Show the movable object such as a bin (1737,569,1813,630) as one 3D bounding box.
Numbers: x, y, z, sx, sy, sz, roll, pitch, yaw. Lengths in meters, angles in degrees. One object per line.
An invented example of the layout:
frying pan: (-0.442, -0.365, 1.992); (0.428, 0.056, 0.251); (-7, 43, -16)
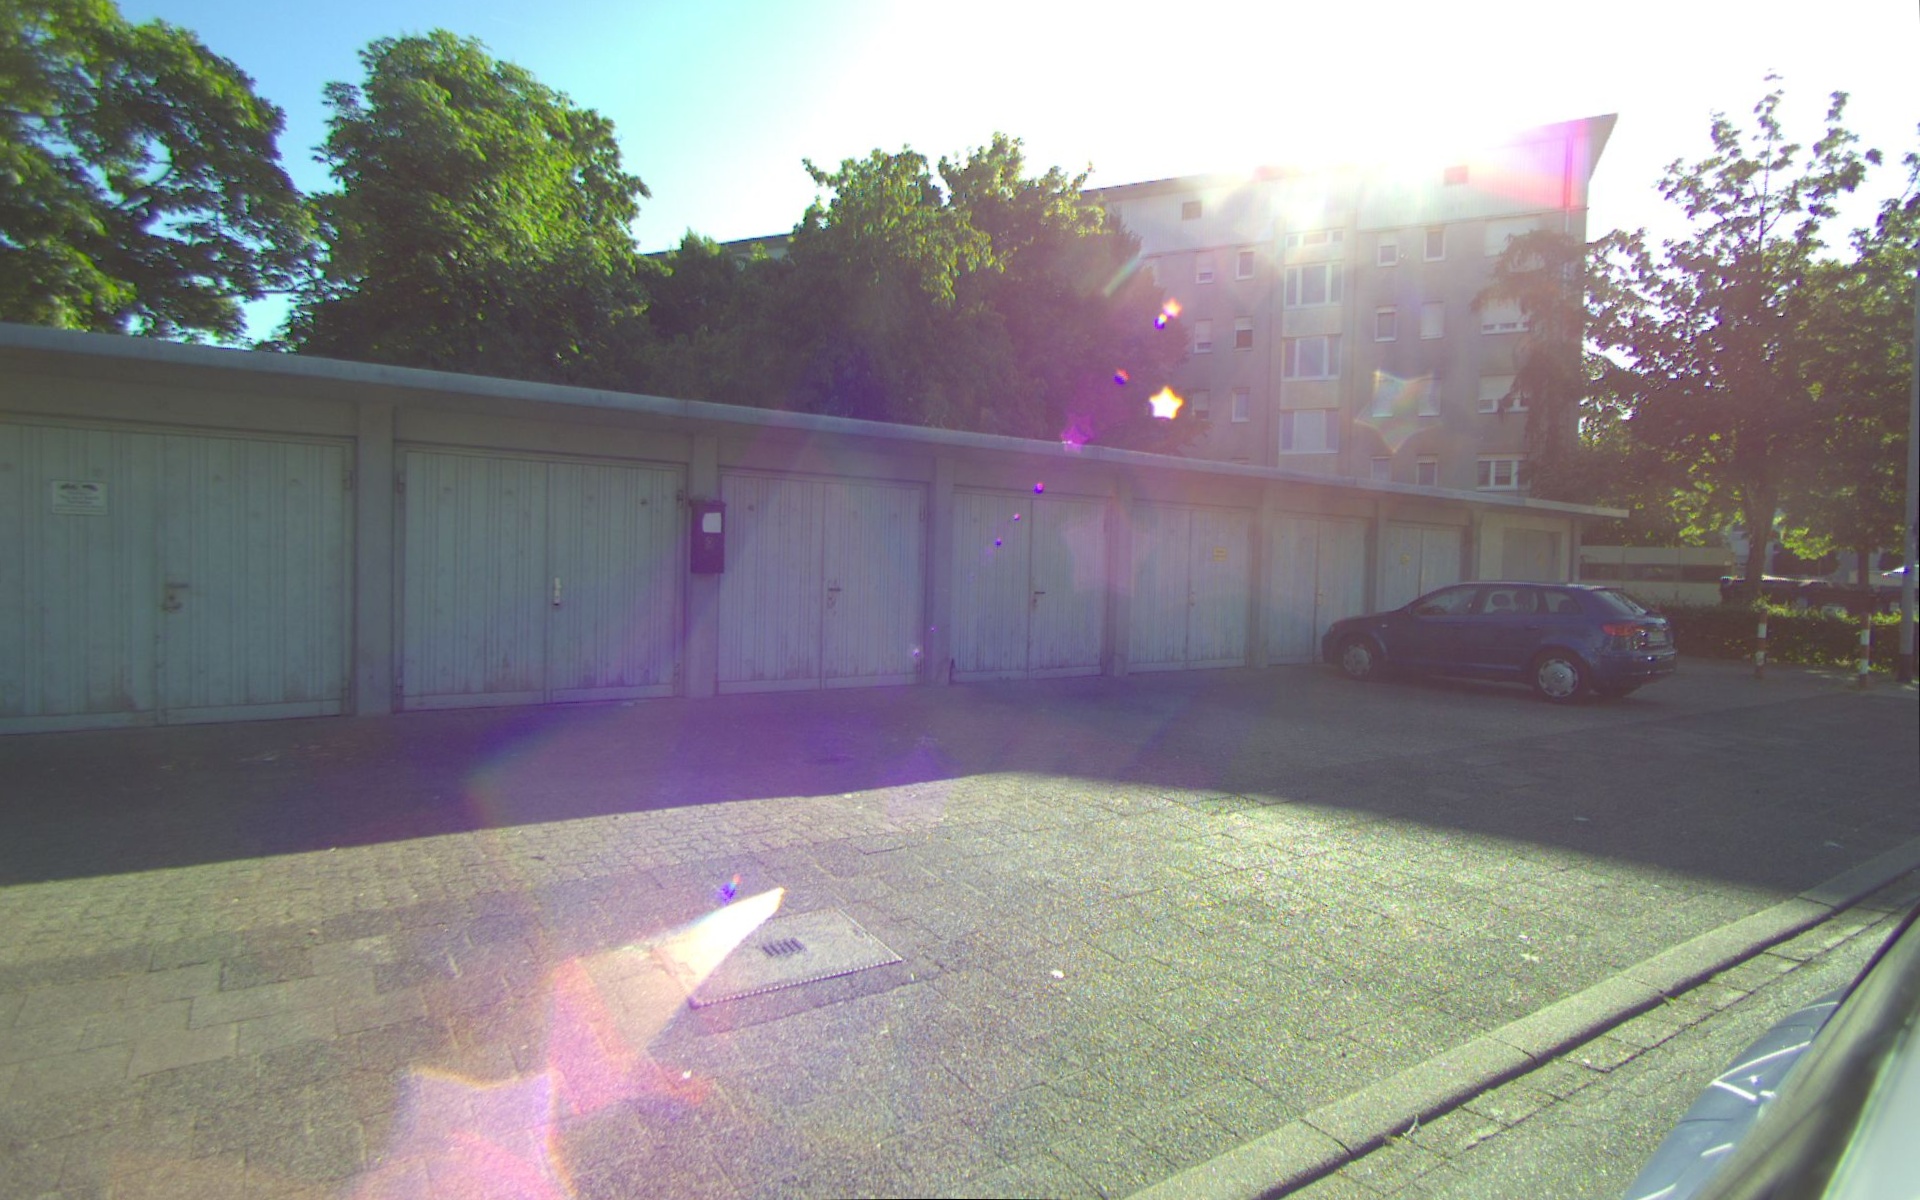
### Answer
movable object such as a bin: (20.820, -0.025, 25.867); (1.011, 1.499, 1.325); (0, 2, -39)

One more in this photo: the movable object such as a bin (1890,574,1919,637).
movable object such as a bin: (22.693, 0.139, 23.607); (1.011, 1.449, 1.327); (0, 2, -39)

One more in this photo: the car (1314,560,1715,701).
car: (6.952, 0.254, 13.110); (1.784, 1.513, 4.196); (0, 2, -36)

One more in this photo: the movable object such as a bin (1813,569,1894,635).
movable object such as a bin: (21.802, 0.032, 24.705); (1.011, 1.556, 1.327); (0, 2, -39)
